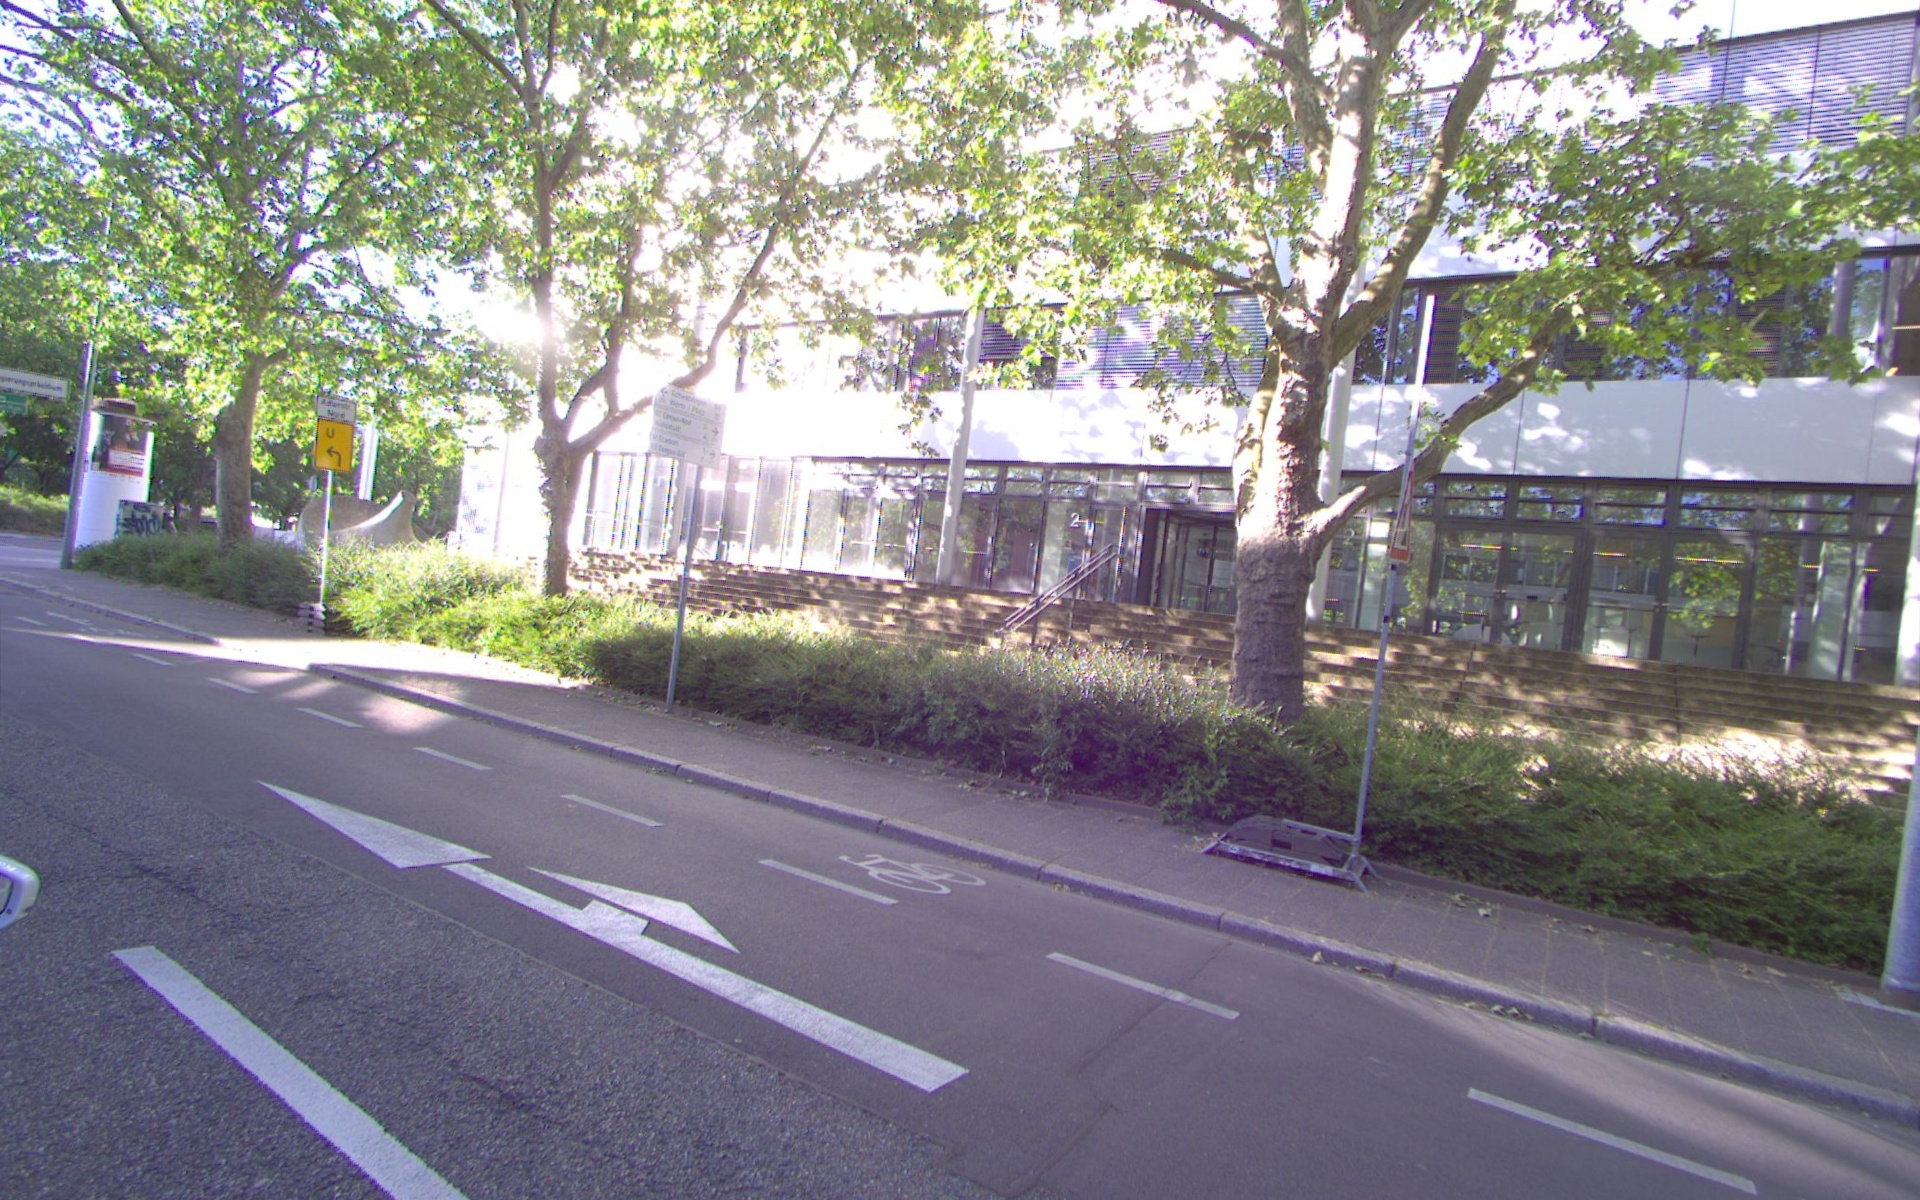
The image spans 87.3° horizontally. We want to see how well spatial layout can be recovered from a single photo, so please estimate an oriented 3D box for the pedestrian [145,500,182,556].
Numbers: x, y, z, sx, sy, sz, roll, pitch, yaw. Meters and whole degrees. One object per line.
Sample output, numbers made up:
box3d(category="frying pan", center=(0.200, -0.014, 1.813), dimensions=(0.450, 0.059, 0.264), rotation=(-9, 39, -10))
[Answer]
box3d(category="pedestrian", center=(-27.249, -2.457, 34.425), dimensions=(0.720, 1.799, 0.734), rotation=(6, -1, 43))
